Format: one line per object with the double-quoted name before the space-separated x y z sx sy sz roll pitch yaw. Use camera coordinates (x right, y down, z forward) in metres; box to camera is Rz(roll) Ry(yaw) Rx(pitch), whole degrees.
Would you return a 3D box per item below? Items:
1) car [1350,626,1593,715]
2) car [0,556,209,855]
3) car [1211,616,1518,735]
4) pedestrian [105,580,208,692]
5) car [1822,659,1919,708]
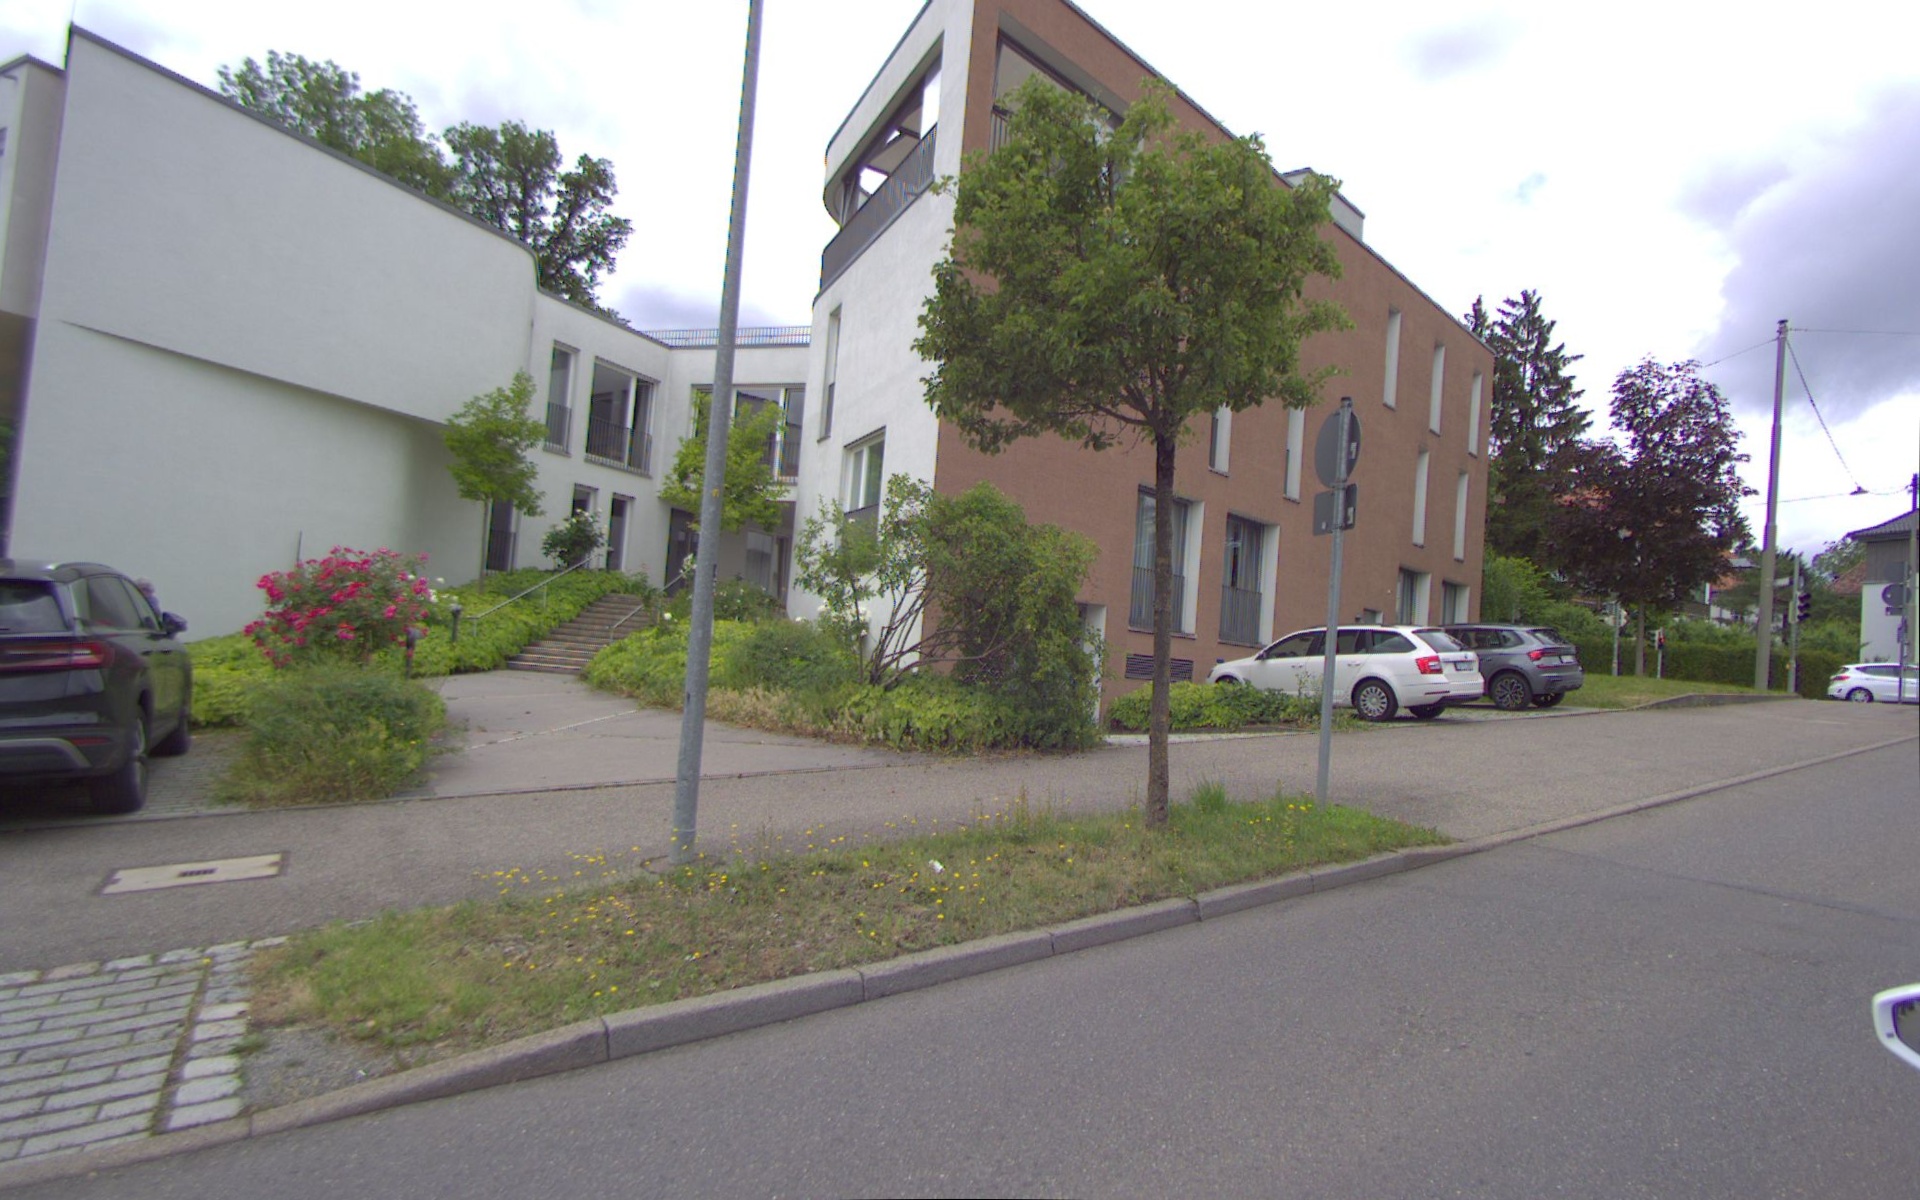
"car" 9.564 1.251 18.987 1.718 1.483 3.729 1 -2 -40
"car" -6.782 0.572 7.082 1.986 1.675 3.965 2 -1 -32
"car" 6.400 1.151 16.311 1.994 1.644 4.232 3 -3 -35
"pedestrian" -9.736 0.430 12.204 0.890 1.300 0.603 2 0 -33
"car" 30.995 2.762 33.005 3.937 1.401 1.929 1 -1 38
